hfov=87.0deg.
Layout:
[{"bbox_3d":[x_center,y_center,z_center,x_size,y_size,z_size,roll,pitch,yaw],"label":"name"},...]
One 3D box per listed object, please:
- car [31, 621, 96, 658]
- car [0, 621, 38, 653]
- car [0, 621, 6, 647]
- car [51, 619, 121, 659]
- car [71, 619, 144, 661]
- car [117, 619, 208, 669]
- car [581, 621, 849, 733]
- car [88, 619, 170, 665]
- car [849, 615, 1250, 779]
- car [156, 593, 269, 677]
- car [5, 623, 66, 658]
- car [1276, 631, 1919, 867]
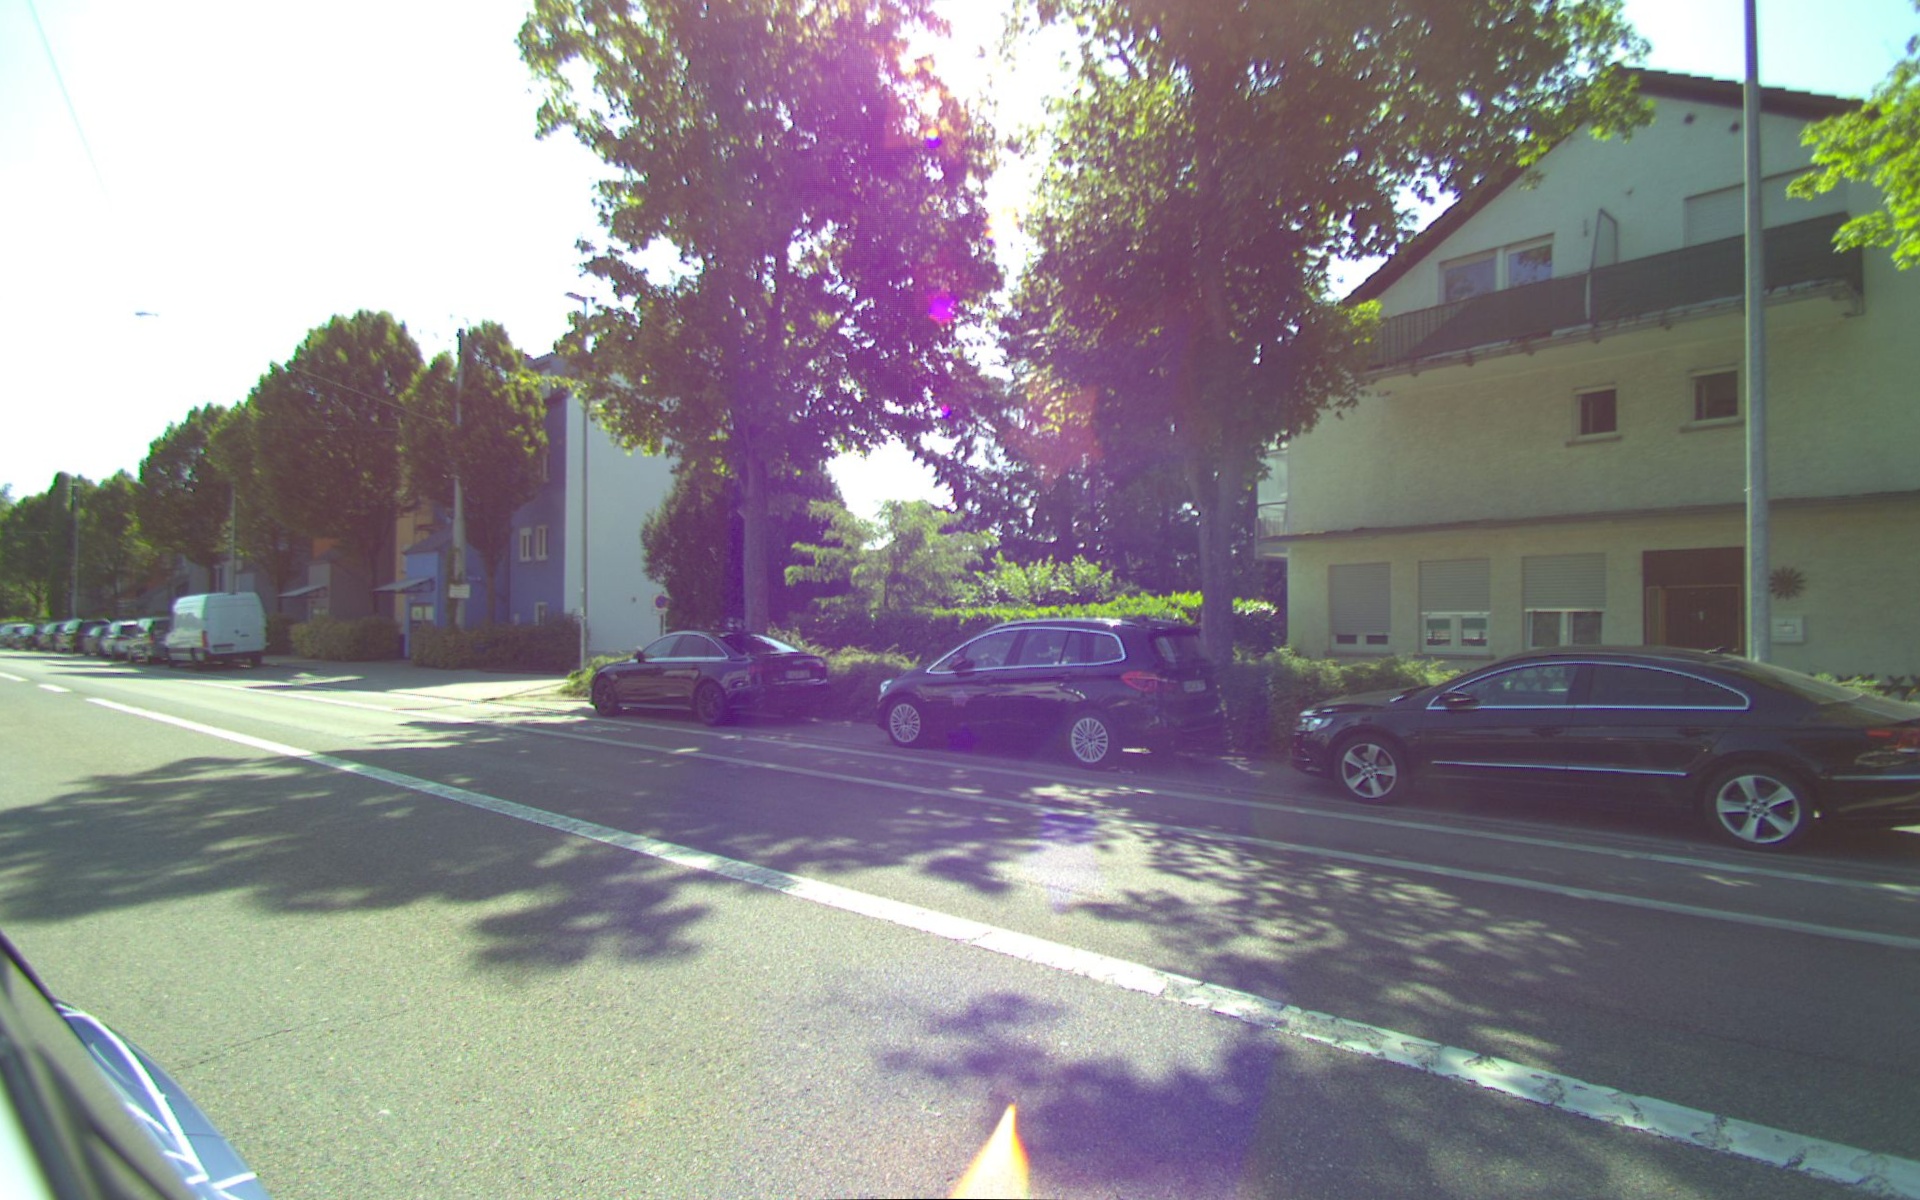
[{"bbox_3d":[-50.238,2.192,56.677,4.766,1.818,1.974,-2,4,41],"label":"car"},{"bbox_3d":[-60.281,2.356,64.191,4.766,1.818,1.974,-2,4,41],"label":"car"},{"bbox_3d":[-68.795,2.473,71.083,4.766,1.818,1.974,-2,4,41],"label":"car"},{"bbox_3d":[-45.848,2.037,53.046,4.766,1.818,1.974,-2,4,41],"label":"car"},{"bbox_3d":[-42.134,1.954,49.993,4.254,1.818,1.974,-2,4,41],"label":"car"},{"bbox_3d":[-33.526,1.809,42.503,4.766,1.818,1.974,-2,4,41],"label":"car"},{"bbox_3d":[-4.087,1.153,16.513,4.616,1.583,1.845,-1,-2,39],"label":"car"},{"bbox_3d":[-38.064,1.875,46.319,4.766,1.818,1.974,-2,4,41],"label":"car"},{"bbox_3d":[0.922,1.015,12.241,4.619,1.583,1.844,-1,0,41],"label":"car"},{"bbox_3d":[-27.379,1.238,36.954,6.213,2.713,1.973,-2,4,43],"label":"car"},{"bbox_3d":[-54.915,2.377,60.097,4.766,1.818,1.974,-2,4,41],"label":"car"},{"bbox_3d":[5.235,1.008,8.422,4.619,1.426,1.844,-1,0,41],"label":"car"}]
